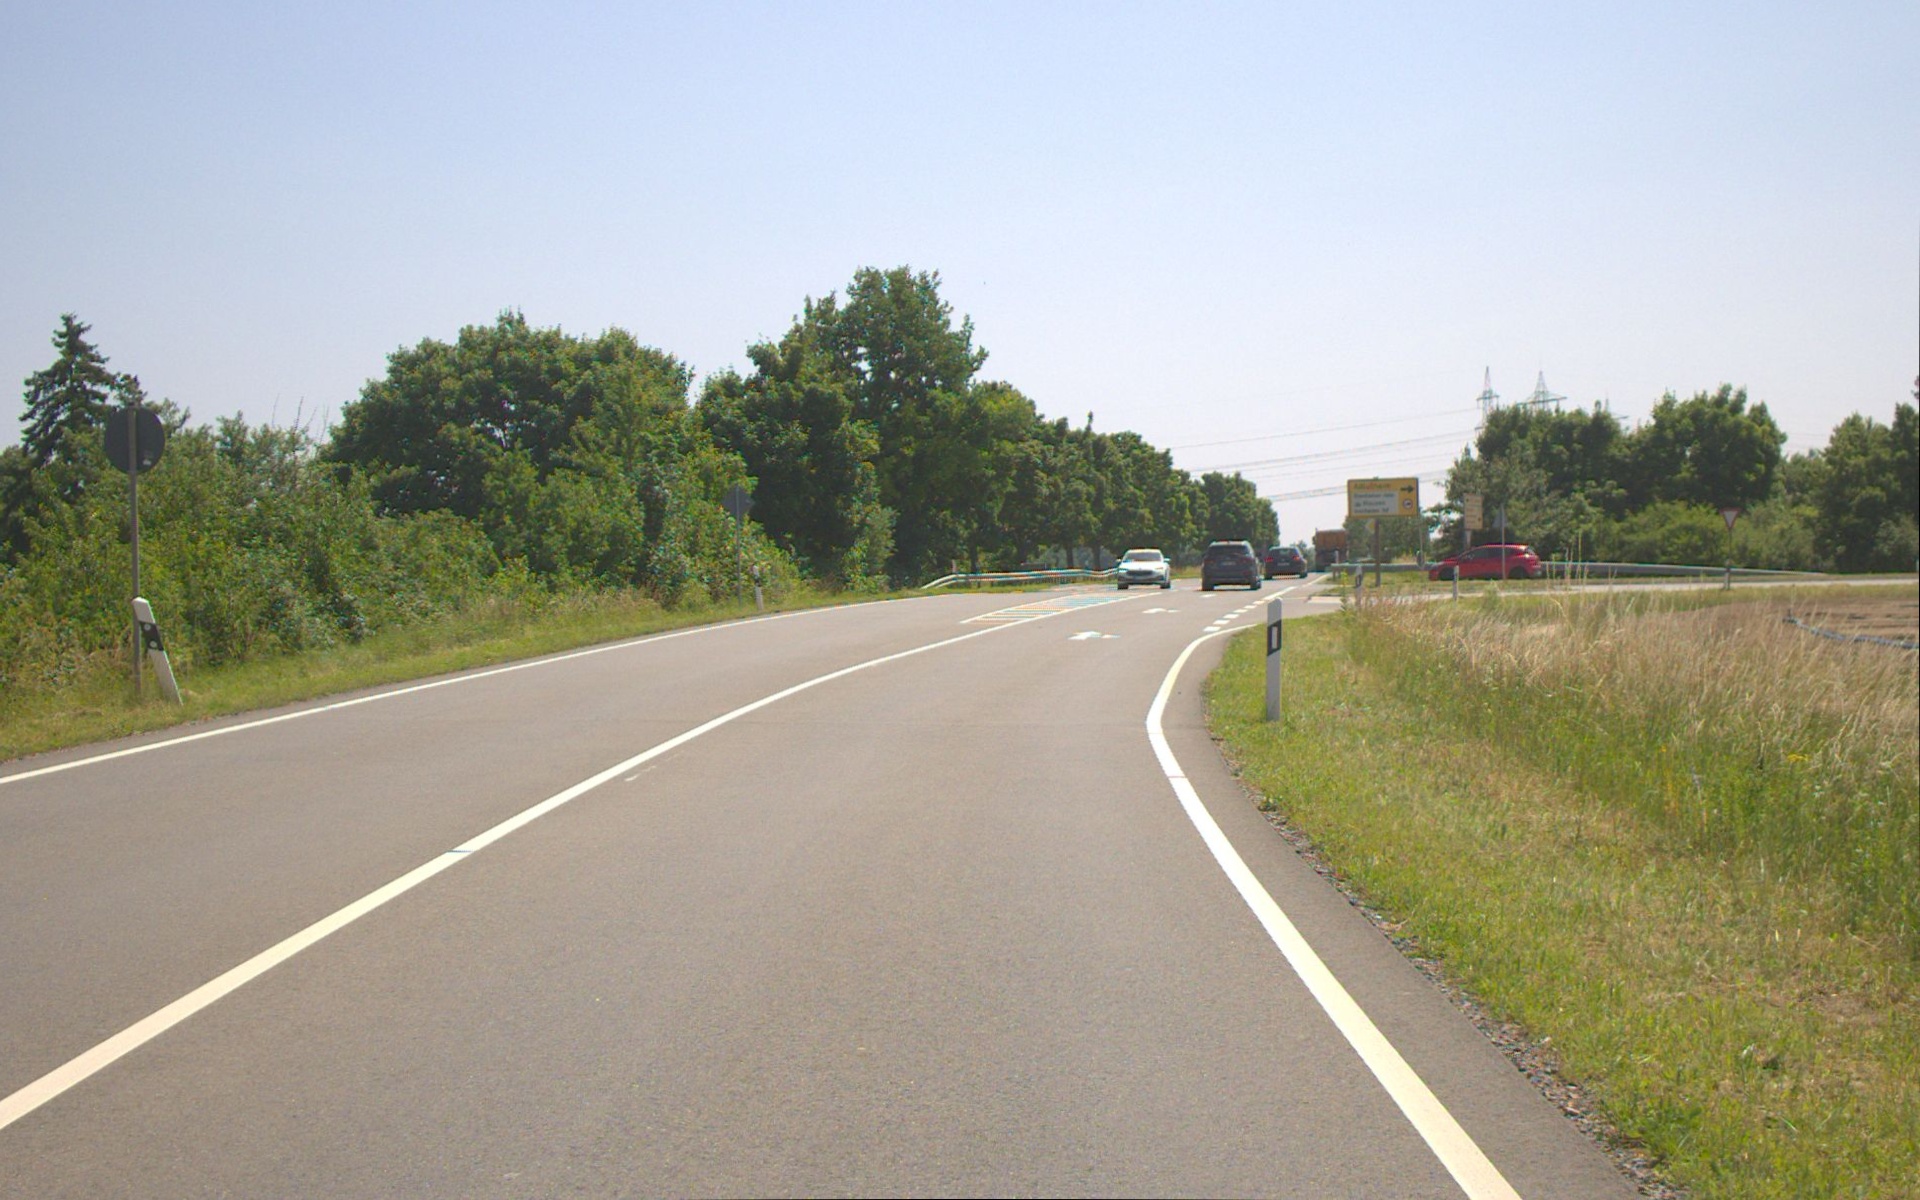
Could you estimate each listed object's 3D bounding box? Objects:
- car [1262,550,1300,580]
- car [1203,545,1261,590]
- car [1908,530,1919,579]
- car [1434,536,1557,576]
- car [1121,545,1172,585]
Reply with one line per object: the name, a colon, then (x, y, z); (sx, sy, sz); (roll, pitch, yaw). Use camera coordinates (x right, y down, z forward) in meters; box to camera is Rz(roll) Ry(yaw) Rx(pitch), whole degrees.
car: (14.334, -1.562, 153.385); (1.644, 1.336, 4.039); (1, 1, 6)
car: (9.322, -1.114, 117.723); (1.885, 1.513, 4.039); (1, 1, 6)
car: (33.672, -1.553, 113.429); (4.128, 1.618, 2.071); (-1, 1, -5)
car: (19.538, -1.586, 125.480); (4.157, 1.414, 1.778); (0, 0, 21)
car: (6.905, -1.304, 127.029); (1.836, 1.414, 4.715); (1, 1, 4)
